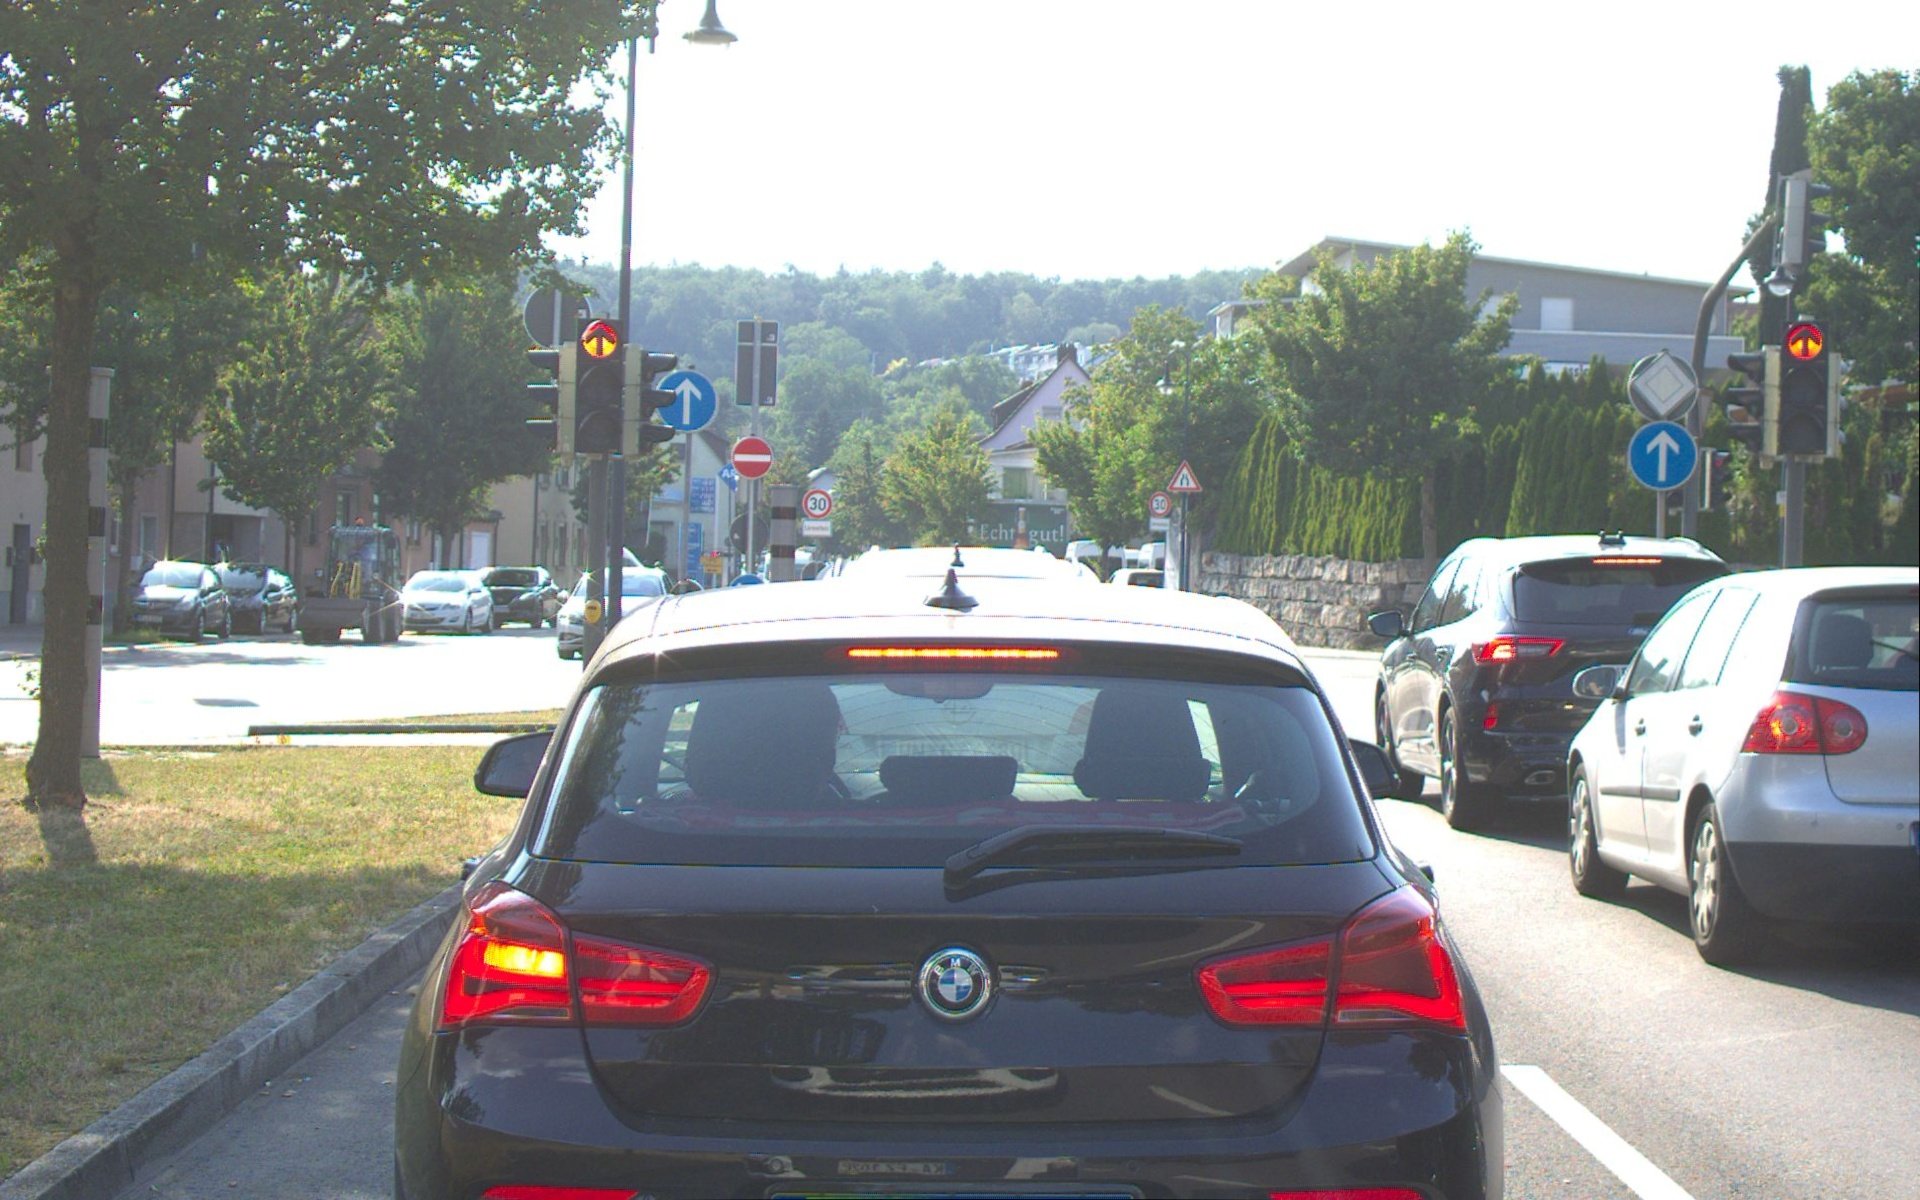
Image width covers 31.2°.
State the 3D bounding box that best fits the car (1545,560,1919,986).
[{"bbox_3d":[3.557,0.572,13.746,1.761,1.421,3.903,-1,1,0],"label":"car"}]

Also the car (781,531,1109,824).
[{"bbox_3d":[-0.078,0.390,21.048,1.788,1.588,4.281,-1,1,0],"label":"car"}]

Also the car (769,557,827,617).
[{"bbox_3d":[-6.643,-0.546,141.712,2.084,2.385,5.528,1,1,0],"label":"car"}]

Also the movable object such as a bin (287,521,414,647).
[{"bbox_3d":[-12.174,-0.339,68.865,1.736,2.433,4.450,0,1,0],"label":"movable object such as a bin"}]

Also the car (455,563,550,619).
[{"bbox_3d":[-12.053,-0.254,90.771,1.737,1.296,3.799,5,1,2],"label":"car"}]

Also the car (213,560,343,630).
[{"bbox_3d":[-14.512,-0.118,73.323,1.737,1.296,4.000,5,1,2],"label":"car"}]

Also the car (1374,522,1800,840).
[{"bbox_3d":[3.531,0.394,20.028,1.761,1.650,3.903,-1,1,0],"label":"car"}]

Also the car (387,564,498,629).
[{"bbox_3d":[-11.889,-0.092,79.141,1.737,1.296,3.799,5,1,2],"label":"car"}]

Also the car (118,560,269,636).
[{"bbox_3d":[-14.930,-0.063,67.159,1.737,1.296,4.000,5,1,3],"label":"car"}]

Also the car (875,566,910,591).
[{"bbox_3d":[-3.896,-1.261,198.962,1.737,1.296,3.799,5,1,2],"label":"car"}]

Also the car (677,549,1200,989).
[{"bbox_3d":[-0.072,0.554,14.009,1.788,1.488,4.281,-1,1,0],"label":"car"}]

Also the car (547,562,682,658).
[{"bbox_3d":[-5.626,0.143,56.316,1.839,1.477,4.000,1,1,-1],"label":"car"}]

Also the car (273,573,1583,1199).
[{"bbox_3d":[-0.037,0.674,6.863,1.788,1.393,4.281,-1,1,0],"label":"car"}]
